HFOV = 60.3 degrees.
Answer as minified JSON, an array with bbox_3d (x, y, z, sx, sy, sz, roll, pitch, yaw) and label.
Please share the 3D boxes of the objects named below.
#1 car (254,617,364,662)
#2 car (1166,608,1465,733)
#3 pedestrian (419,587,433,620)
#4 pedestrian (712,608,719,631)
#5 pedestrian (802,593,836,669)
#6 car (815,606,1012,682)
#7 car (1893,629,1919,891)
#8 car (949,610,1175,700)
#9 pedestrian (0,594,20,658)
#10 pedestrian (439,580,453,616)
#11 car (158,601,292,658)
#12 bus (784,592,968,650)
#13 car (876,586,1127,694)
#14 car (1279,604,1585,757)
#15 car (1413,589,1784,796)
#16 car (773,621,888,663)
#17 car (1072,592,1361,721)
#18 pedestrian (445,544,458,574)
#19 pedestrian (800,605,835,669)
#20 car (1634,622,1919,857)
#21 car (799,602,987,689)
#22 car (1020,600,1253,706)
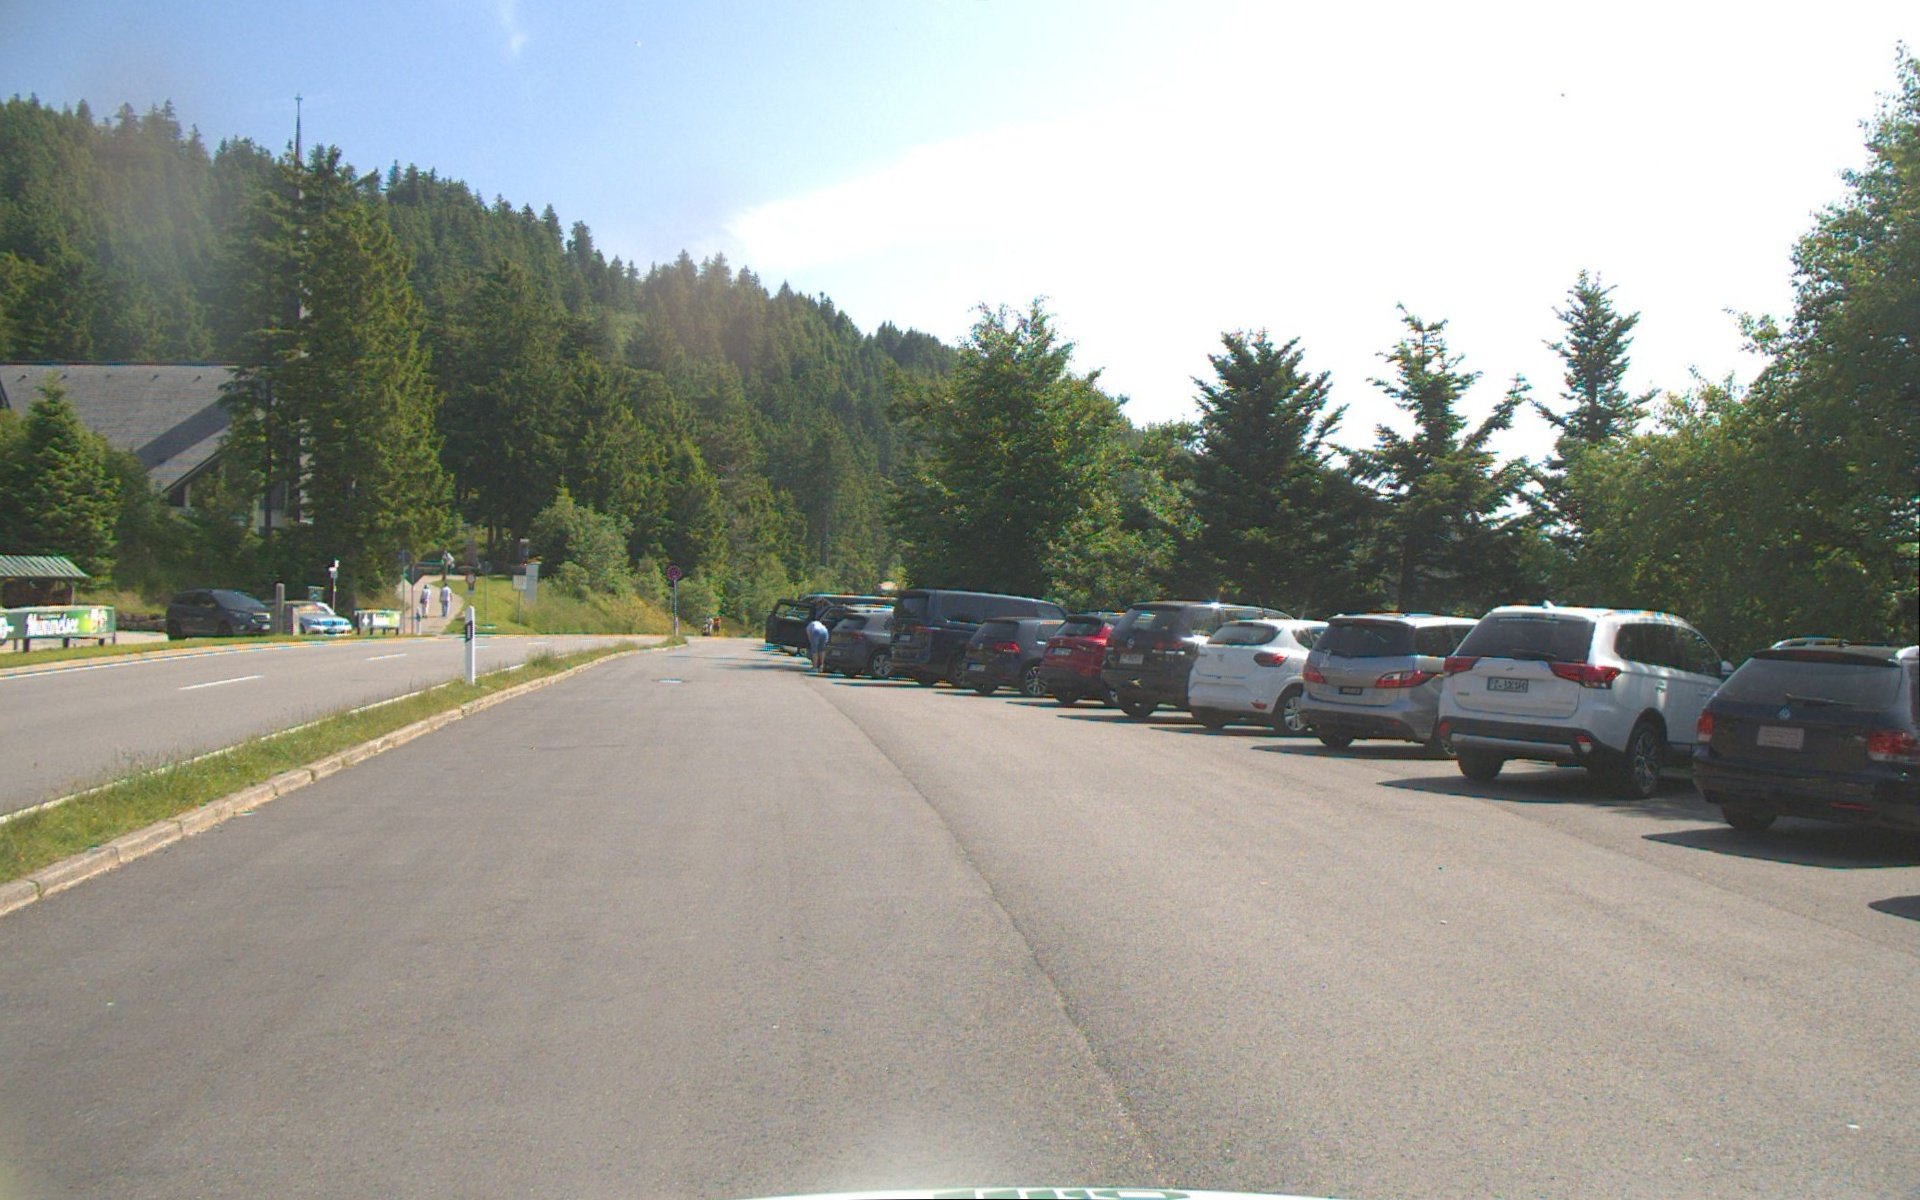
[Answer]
[{"bbox_3d":[-22.459,1.334,57.025,3.891,1.466,1.737,0,1,36],"label":"car"},{"bbox_3d":[4.895,0.981,22.580,3.954,1.502,1.746,4,-1,-35],"label":"car"},{"bbox_3d":[-27.576,0.203,85.381,0.641,1.696,0.641,0,-2,-14],"label":"pedestrian"},{"bbox_3d":[-19.016,1.521,128.648,0.386,1.778,0.406,1,0,5],"label":"pedestrian"},{"bbox_3d":[-3.414,0.752,40.050,0.570,1.791,0.630,4,-2,-19],"label":"pedestrian"},{"bbox_3d":[-1.023,0.983,36.773,3.942,1.468,1.823,4,-1,-29],"label":"car"},{"bbox_3d":[7.439,1.029,9.786,3.754,1.484,1.646,4,-1,-30],"label":"car"},{"bbox_3d":[1.923,1.031,30.728,3.953,1.439,1.724,4,-1,-35],"label":"car"},{"bbox_3d":[-26.974,0.731,46.254,0.879,1.764,0.959,0,1,-8],"label":"pedestrian"},{"bbox_3d":[-26.745,-0.094,86.006,0.641,1.830,0.641,1,0,-14],"label":"pedestrian"},{"bbox_3d":[-22.543,0.898,50.678,4.122,1.662,1.784,0,-1,33],"label":"car"},{"bbox_3d":[-5.923,1.442,116.896,12.586,3.640,2.984,1,1,9],"label":"bus"},{"bbox_3d":[0.862,0.820,33.773,4.700,1.913,1.950,4,-1,-27],"label":"car"},{"bbox_3d":[5.717,0.962,19.776,1.790,1.576,3.970,2,-1,45],"label":"car"},{"bbox_3d":[6.368,0.859,16.256,1.833,1.724,4.196,2,-1,45],"label":"car"},{"bbox_3d":[-5.349,1.754,68.453,4.394,1.321,1.571,6,-2,-24],"label":"car"},{"bbox_3d":[3.916,0.872,24.861,4.233,1.724,1.962,4,-1,-40],"label":"car"},{"bbox_3d":[-34.754,-2.818,112.942,0.802,2.049,0.850,-1,1,-16],"label":"pedestrian"},{"bbox_3d":[-3.256,0.846,37.831,0.758,1.427,0.669,0,1,-1],"label":"pedestrian"},{"bbox_3d":[7.253,1.037,12.864,4.006,1.486,1.871,4,-1,-36],"label":"car"},{"bbox_3d":[-1.571,1.083,39.391,3.954,1.691,1.976,7,-3,-35],"label":"car"},{"bbox_3d":[3.067,0.926,28.255,1.833,1.617,3.970,2,-1,45],"label":"car"}]
